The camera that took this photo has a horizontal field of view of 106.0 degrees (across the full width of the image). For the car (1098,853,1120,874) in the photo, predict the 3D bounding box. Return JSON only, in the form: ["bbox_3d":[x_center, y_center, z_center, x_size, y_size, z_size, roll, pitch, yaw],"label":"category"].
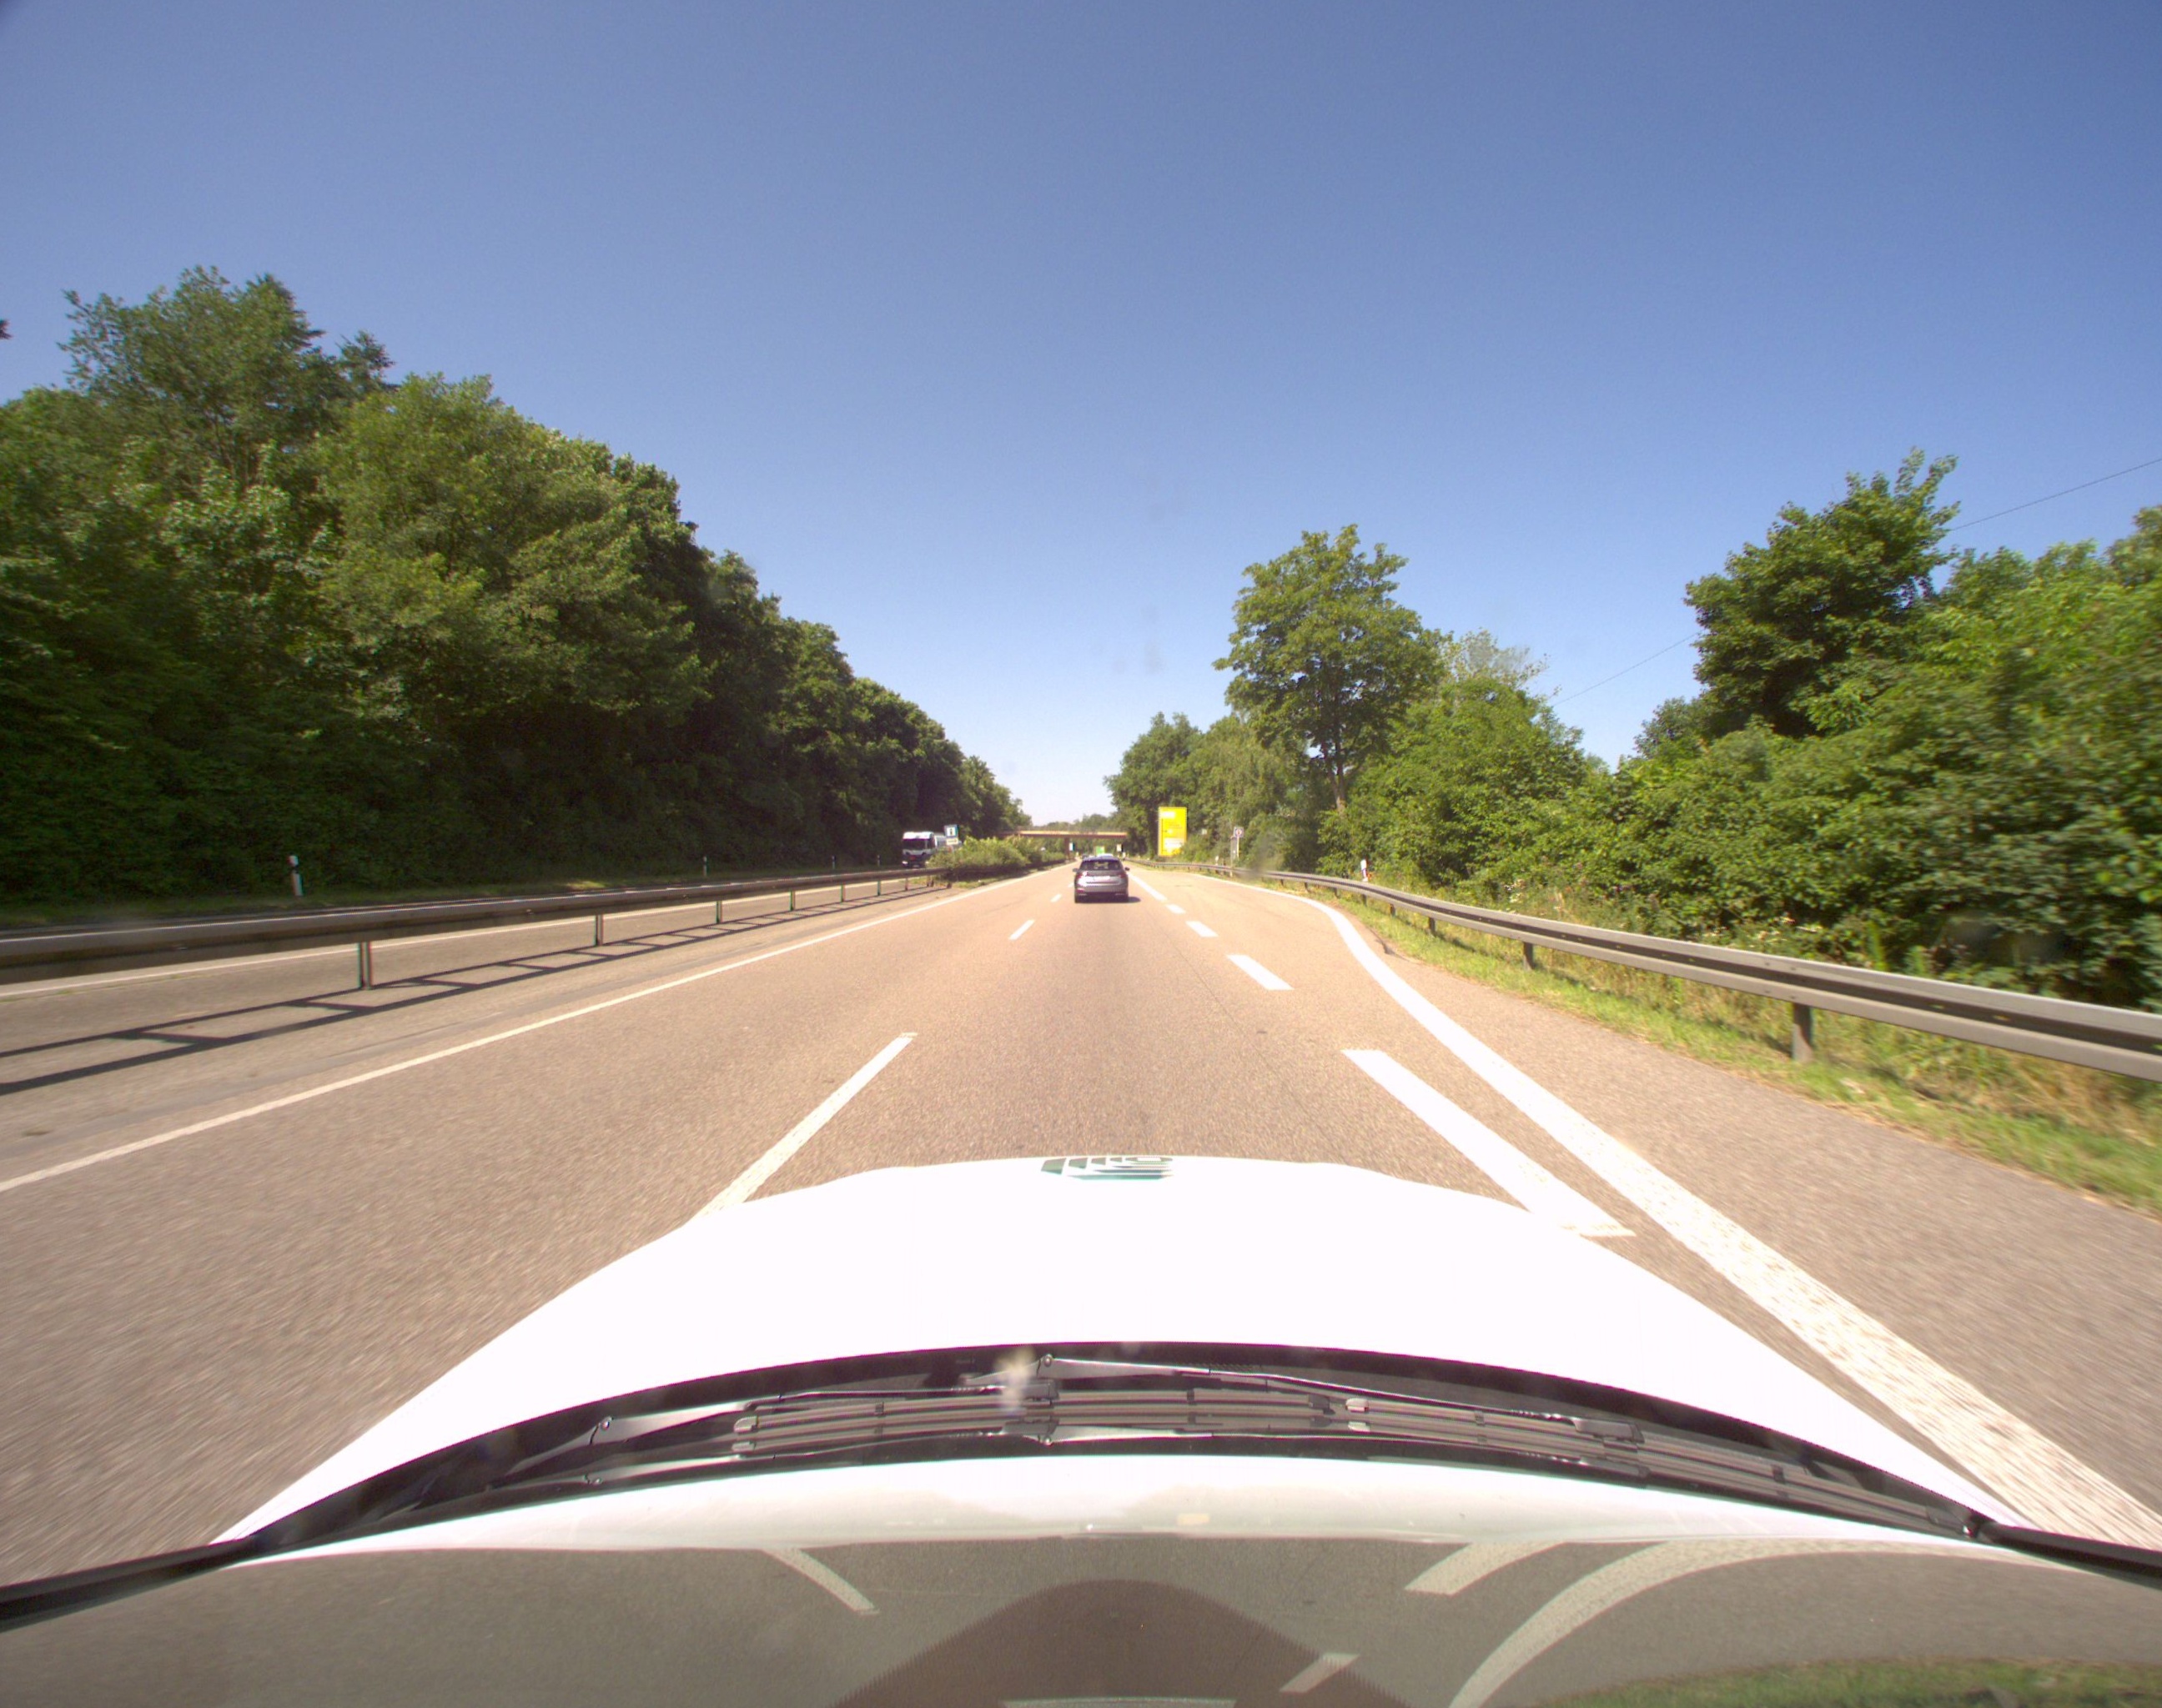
[{"bbox_3d":[2.089,0.690,59.367,1.516,1.446,3.343,0,0,3],"label":"car"}]

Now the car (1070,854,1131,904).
[{"bbox_3d":[0.703,0.744,26.394,1.832,1.472,3.626,0,0,3],"label":"car"}]

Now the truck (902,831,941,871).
[{"bbox_3d":[-13.537,-0.232,69.369,2.416,3.258,4.002,0,0,2],"label":"truck"}]

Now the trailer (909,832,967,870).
[{"bbox_3d":[-13.277,-0.260,77.147,2.483,3.235,14.437,0,0,2],"label":"trailer"}]

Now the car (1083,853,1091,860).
[{"bbox_3d":[1.722,0.752,235.218,1.986,2.013,4.001,0,0,2],"label":"car"}]

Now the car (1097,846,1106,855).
[{"bbox_3d":[6.108,-1.078,241.059,2.738,2.654,4.001,0,0,1],"label":"car"}]
